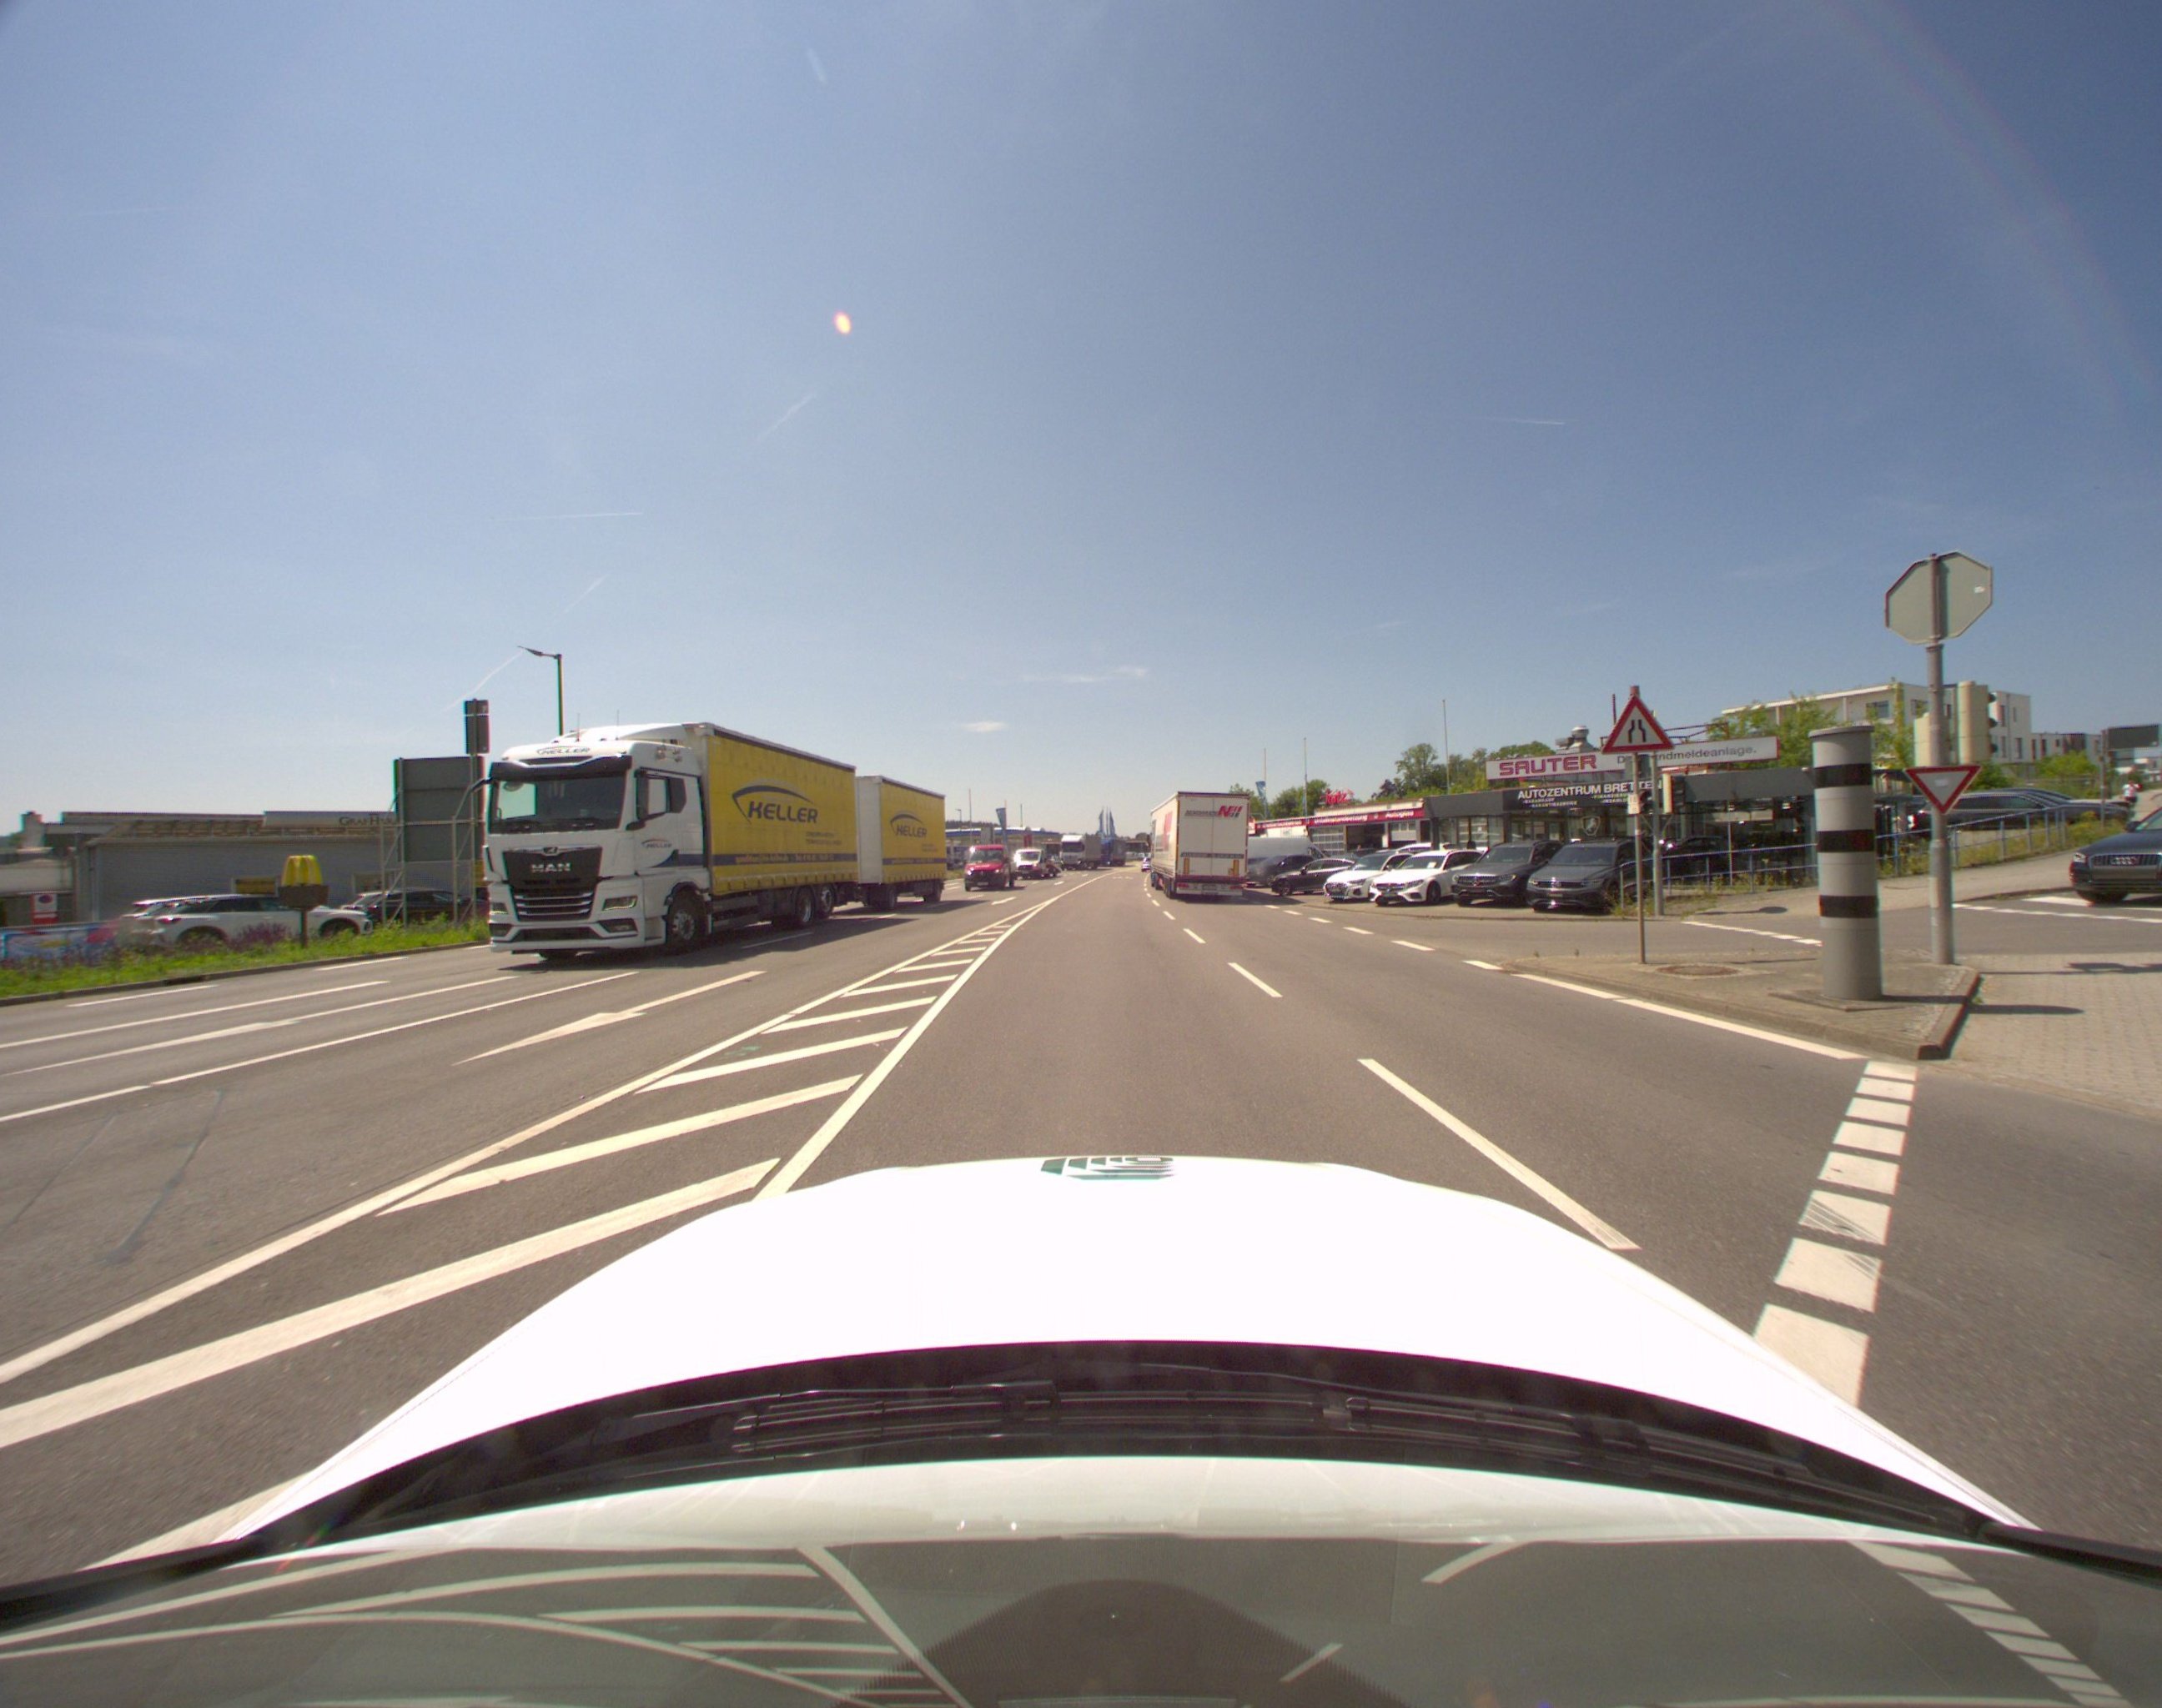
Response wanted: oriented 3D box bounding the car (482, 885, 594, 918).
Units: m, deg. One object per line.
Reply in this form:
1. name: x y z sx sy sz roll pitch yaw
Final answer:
1. car: -21.464 1.866 32.280 1.543 1.068 3.391 -2 -1 39

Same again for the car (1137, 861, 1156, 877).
1. car: 7.132 1.631 89.139 1.915 1.610 4.098 -2 -1 3

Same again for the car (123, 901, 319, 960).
1. car: -27.335 2.366 26.003 1.974 1.464 4.026 -2 0 35

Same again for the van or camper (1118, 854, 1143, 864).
1. van or camper: 10.423 1.043 171.441 4.814 1.905 1.911 -1 -1 12

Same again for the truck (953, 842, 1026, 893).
1. truck: -4.640 0.680 42.603 2.384 2.445 6.882 -1 -1 5

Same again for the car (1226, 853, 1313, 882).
1. car: 10.299 0.713 44.729 4.310 1.499 2.082 -1 0 1

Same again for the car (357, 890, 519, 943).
1. car: -21.784 2.063 27.732 1.734 1.464 4.025 -2 0 39

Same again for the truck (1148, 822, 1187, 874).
1. truck: 7.090 -0.454 68.231 2.636 3.806 13.374 -2 0 4

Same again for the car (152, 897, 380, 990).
1. car: -22.671 2.394 22.806 1.974 2.013 4.268 -4 0 39

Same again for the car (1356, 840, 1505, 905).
1. car: 10.724 0.524 24.825 4.762 1.553 1.978 -5 1 -37

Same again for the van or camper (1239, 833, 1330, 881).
1. van or camper: 12.973 0.189 52.322 5.342 2.905 2.236 -2 0 5

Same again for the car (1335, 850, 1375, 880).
1. car: 15.238 0.572 45.456 1.796 1.528 4.400 -3 -1 15

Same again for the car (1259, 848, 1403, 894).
1. car: 9.407 0.672 31.024 1.938 1.387 4.875 -3 -2 -41

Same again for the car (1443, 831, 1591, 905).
1. car: 12.199 0.354 22.713 4.192 1.691 1.864 -4 1 -34

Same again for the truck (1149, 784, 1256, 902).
1. truck: 4.974 -0.331 37.297 2.961 4.094 17.645 -1 0 2

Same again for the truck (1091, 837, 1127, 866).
1. truck: 4.275 -0.297 119.306 2.826 3.889 17.052 -1 -1 10

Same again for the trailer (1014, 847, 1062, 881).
1. trailer: -3.255 0.737 63.620 2.415 2.338 6.909 -4 -1 7

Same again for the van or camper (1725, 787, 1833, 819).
1. van or camper: 36.720 -2.670 42.930 1.864 1.357 3.958 0 -1 -33

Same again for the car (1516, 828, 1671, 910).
1. car: 13.031 0.327 20.610 4.204 1.691 1.863 -5 1 -37

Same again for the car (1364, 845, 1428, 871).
1. car: 23.304 0.305 60.380 3.989 1.574 1.848 -4 0 -11

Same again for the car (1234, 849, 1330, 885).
1. car: 10.202 0.651 41.375 4.345 1.624 2.045 -2 0 -24

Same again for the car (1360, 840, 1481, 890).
1. car: 13.932 0.476 33.588 1.864 1.714 4.098 -3 -2 -41

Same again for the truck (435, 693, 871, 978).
1. truck: -7.697 -0.254 17.216 3.015 4.105 10.366 -2 0 4

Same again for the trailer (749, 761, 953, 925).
1. trailer: -6.961 -0.268 26.800 2.997 4.287 10.070 -2 0 4

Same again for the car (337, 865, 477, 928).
1. car: -23.916 1.448 28.991 1.689 2.013 3.523 -2 0 38

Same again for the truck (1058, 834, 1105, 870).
1. truck: 0.322 -0.182 96.934 2.773 3.889 16.528 -1 -1 10

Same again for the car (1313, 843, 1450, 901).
1. car: 10.086 0.575 27.265 4.490 1.409 1.730 -6 1 -29

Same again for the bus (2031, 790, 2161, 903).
1. bus: 18.441 -0.271 13.128 4.490 1.651 1.936 -6 -2 -10

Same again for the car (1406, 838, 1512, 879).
1. car: 17.092 0.228 36.963 1.742 1.484 3.893 -3 -2 -41

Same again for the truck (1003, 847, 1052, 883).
1. truck: -3.786 0.728 59.138 2.412 2.340 5.685 -4 0 7
